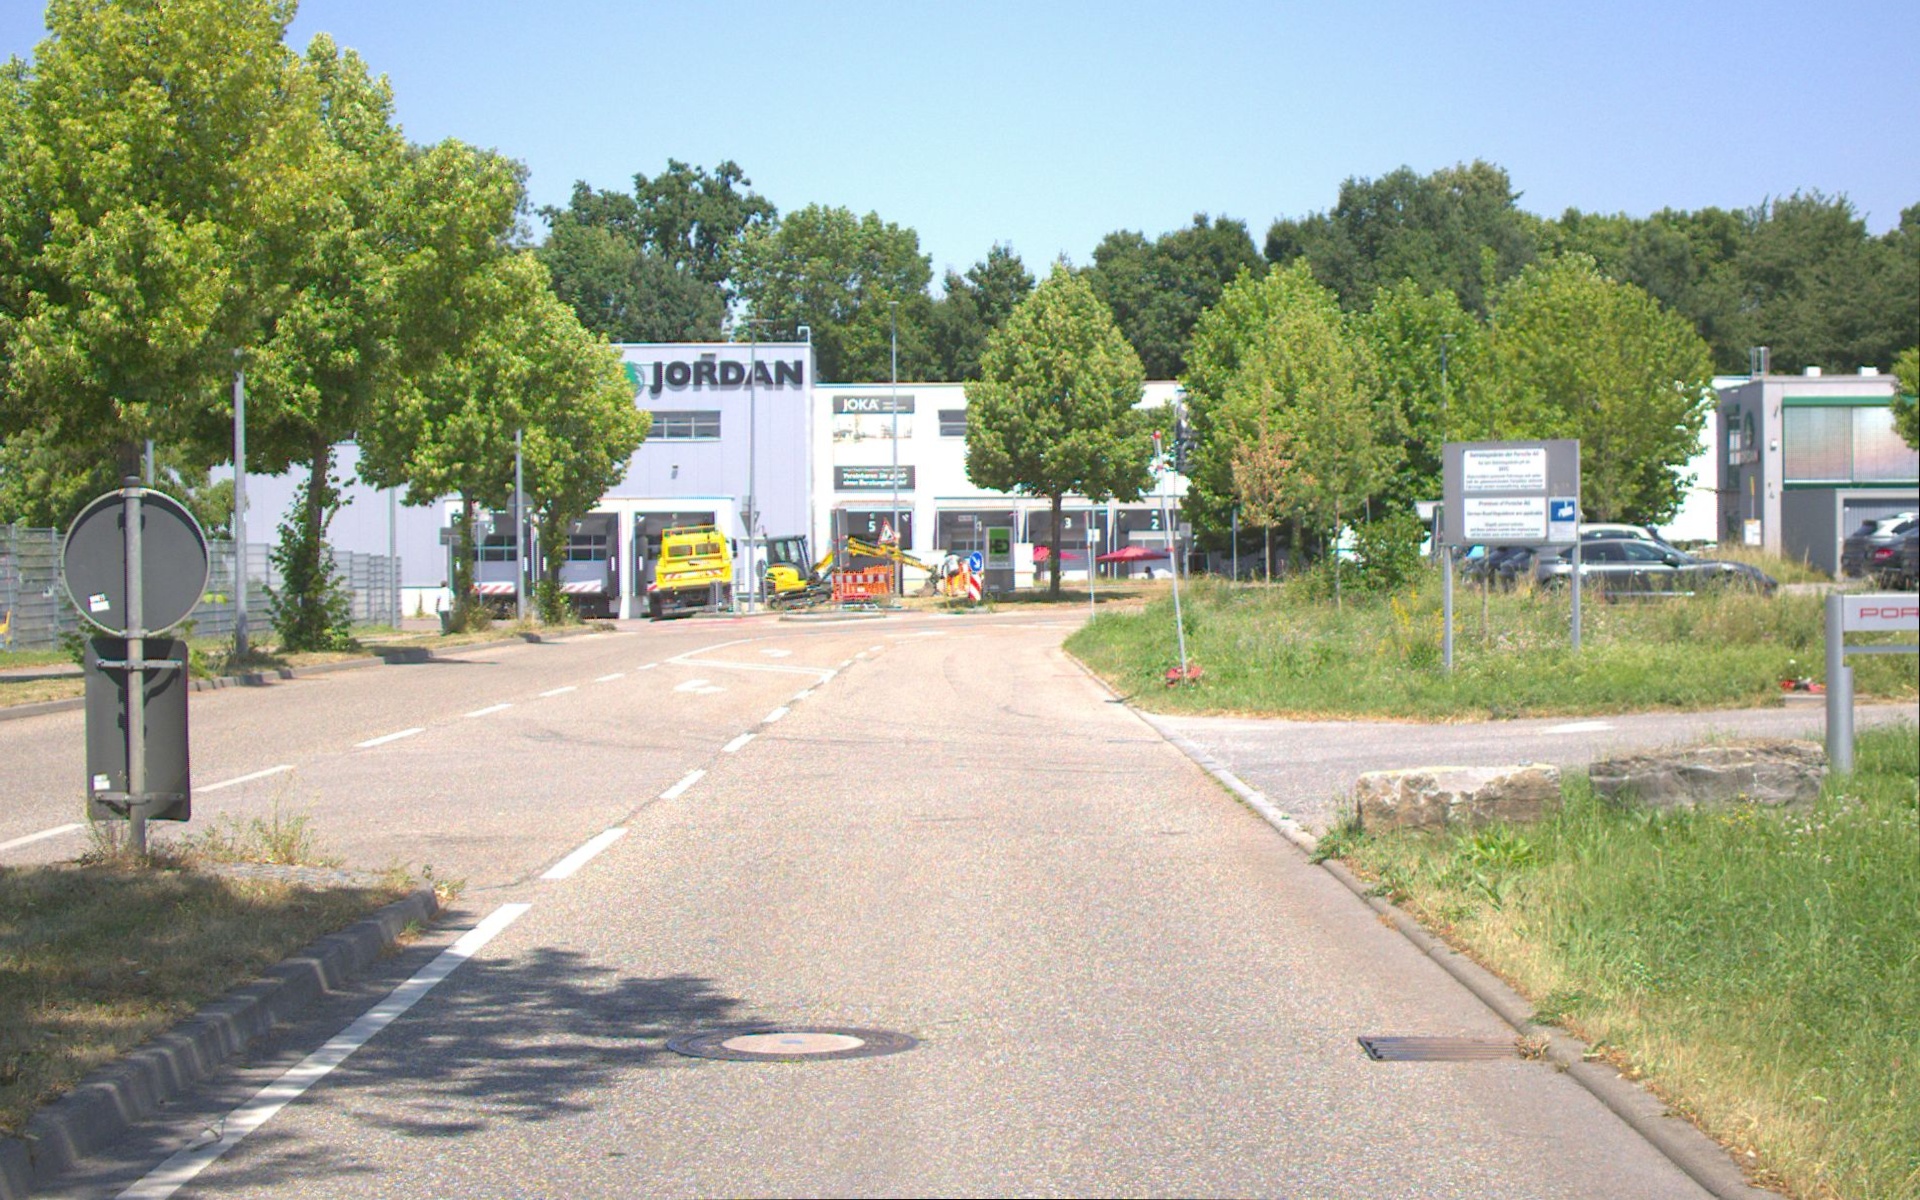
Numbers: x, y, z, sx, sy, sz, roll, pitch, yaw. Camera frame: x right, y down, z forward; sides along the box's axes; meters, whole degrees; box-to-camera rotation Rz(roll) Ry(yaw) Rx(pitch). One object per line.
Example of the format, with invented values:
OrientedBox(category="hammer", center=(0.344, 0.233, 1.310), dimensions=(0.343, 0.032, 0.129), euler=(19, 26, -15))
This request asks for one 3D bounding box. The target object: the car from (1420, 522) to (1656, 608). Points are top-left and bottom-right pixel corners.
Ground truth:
OrientedBox(category="car", center=(11.069, -0.691, 66.002), dimensions=(4.162, 1.395, 1.769), euler=(-2, 4, -3))

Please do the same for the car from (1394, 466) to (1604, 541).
OrientedBox(category="car", center=(11.609, -2.093, 74.191), dimensions=(4.162, 1.395, 1.769), euler=(-2, 4, -3))

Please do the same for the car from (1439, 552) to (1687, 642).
OrientedBox(category="car", center=(11.081, -0.071, 63.328), dimensions=(4.162, 1.395, 1.769), euler=(-2, 4, -3))

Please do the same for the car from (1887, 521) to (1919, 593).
OrientedBox(category="car", center=(21.830, -0.978, 72.593), dimensions=(3.986, 1.395, 1.769), euler=(-2, 4, -3))

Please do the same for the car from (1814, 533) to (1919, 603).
OrientedBox(category="car", center=(21.850, -0.774, 78.899), dimensions=(3.986, 1.395, 1.769), euler=(-2, 4, -3))

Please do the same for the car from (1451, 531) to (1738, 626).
OrientedBox(category="car", center=(11.101, -0.393, 60.401), dimensions=(4.704, 1.395, 1.922), euler=(-2, 4, 2))

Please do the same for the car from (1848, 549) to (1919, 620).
OrientedBox(category="car", center=(21.718, -0.392, 75.370), dimensions=(3.986, 1.395, 1.769), euler=(-2, 4, -3))

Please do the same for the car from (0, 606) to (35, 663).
OrientedBox(category="car", center=(-31.823, 1.161, 113.226), dimensions=(1.993, 1.546, 4.002), euler=(-2, 4, -7))

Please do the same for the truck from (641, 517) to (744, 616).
OrientedBox(category="truck", center=(-9.022, -1.155, 115.298), dimensions=(2.938, 2.875, 5.812), euler=(-2, 4, -8))

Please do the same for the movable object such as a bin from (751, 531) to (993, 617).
OrientedBox(category="movable object such as a bin", center=(-2.896, -0.889, 115.341), dimensions=(7.528, 2.491, 3.666), euler=(-1, 4, 8))
